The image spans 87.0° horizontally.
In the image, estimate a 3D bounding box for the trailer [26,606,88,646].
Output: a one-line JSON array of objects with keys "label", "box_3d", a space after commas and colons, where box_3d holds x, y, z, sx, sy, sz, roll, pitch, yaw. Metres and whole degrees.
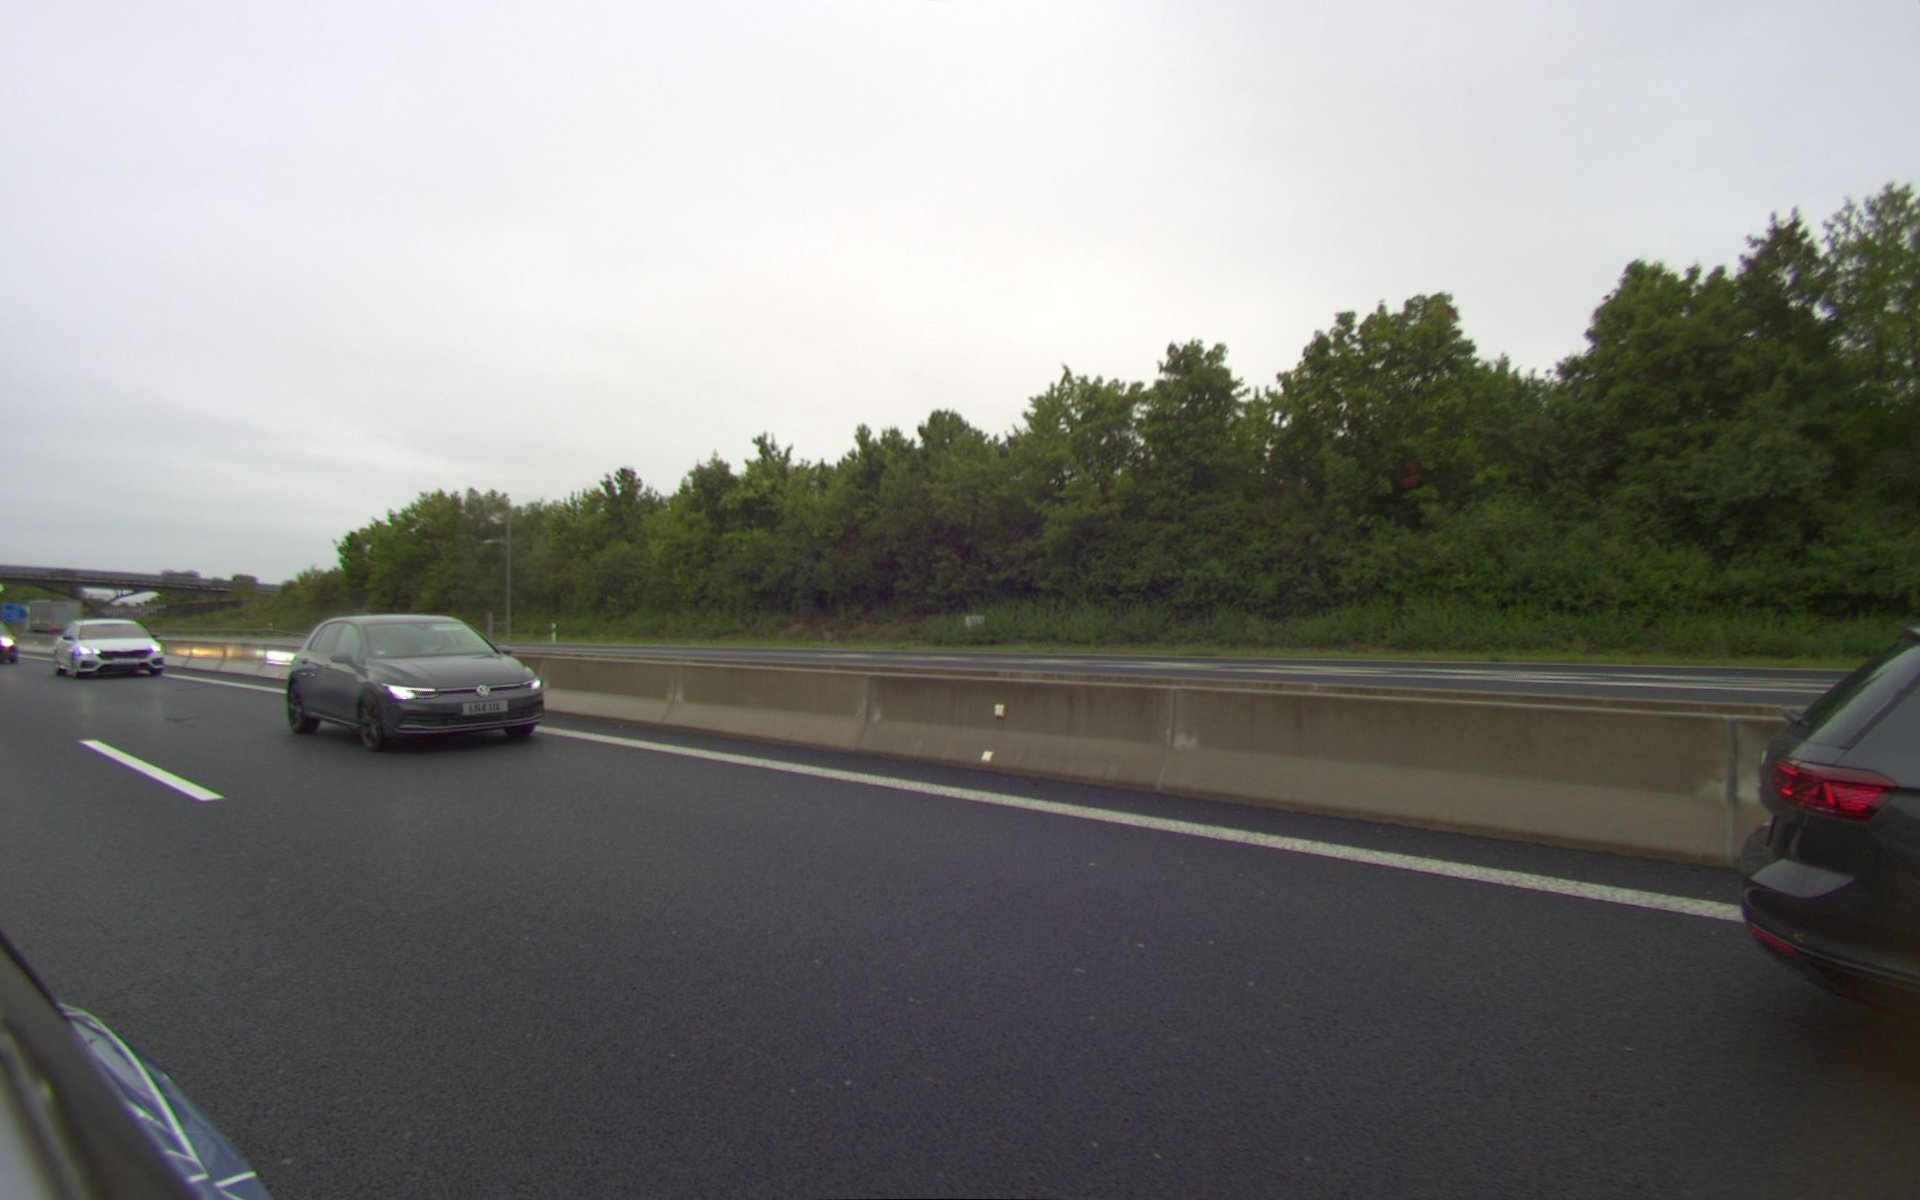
[{"label": "trailer", "box_3d": [-98.518, 2.835, 110.259, 13.836, 4.114, 3.226, -2, -1, 41]}]

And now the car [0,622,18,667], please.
[{"label": "car", "box_3d": [-34.336, 1.530, 35.229, 4.112, 1.518, 1.880, -1, -1, 41]}]

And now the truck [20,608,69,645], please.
[{"label": "truck", "box_3d": [-104.396, 2.991, 115.321, 7.436, 4.114, 3.226, -2, -1, 41]}]

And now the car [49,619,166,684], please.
[{"label": "car", "box_3d": [-22.131, 1.283, 26.236, 4.114, 1.518, 1.879, -2, -1, 43]}]

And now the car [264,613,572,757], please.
[{"label": "car", "box_3d": [-6.660, 0.891, 12.202, 4.458, 1.416, 1.880, -1, -1, 42]}]

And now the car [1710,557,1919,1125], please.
[{"label": "car", "box_3d": [4.658, 0.605, 2.099, 4.849, 1.508, 1.881, -1, -1, 41]}]
